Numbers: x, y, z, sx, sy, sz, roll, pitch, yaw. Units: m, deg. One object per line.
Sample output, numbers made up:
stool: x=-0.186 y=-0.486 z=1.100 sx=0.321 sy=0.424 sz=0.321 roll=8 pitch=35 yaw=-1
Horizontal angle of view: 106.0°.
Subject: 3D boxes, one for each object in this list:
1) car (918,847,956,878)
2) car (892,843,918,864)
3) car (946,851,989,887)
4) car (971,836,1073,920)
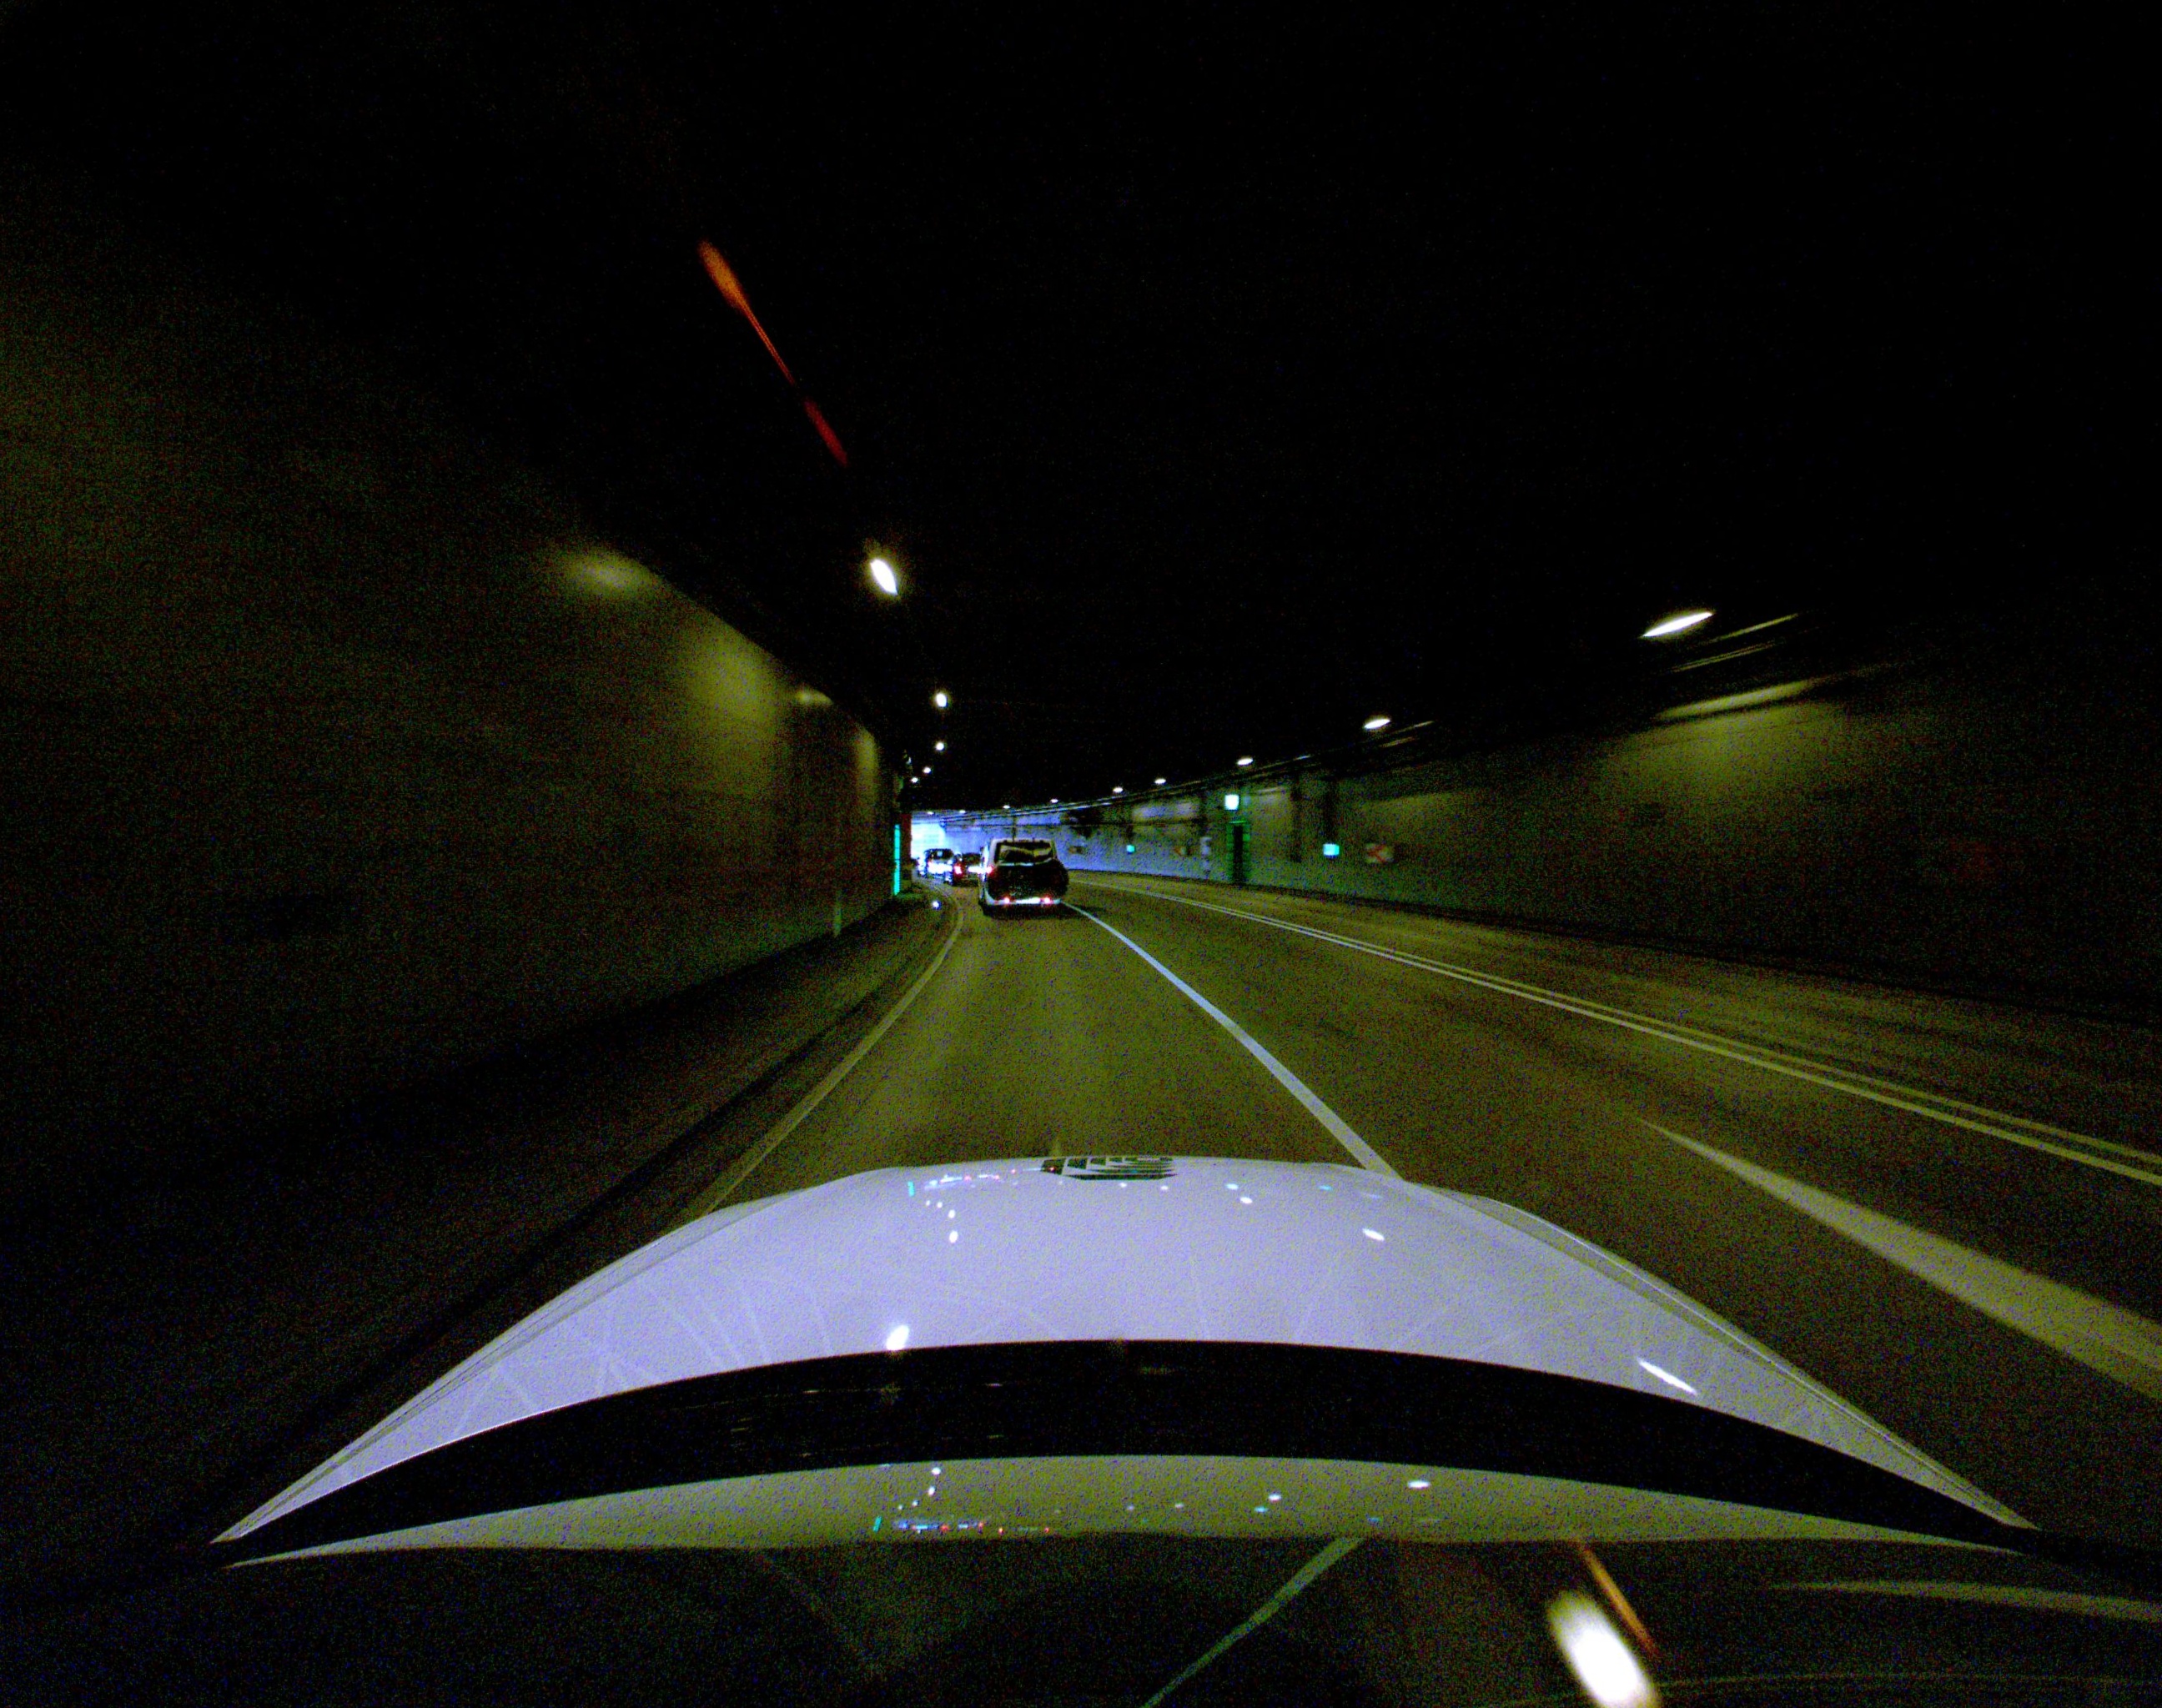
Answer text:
car: x=-7.853 y=0.452 z=44.170 sx=1.607 sy=1.594 sz=3.335 roll=1 pitch=-1 yaw=-18
car: x=-14.037 y=0.010 z=64.890 sx=1.608 sy=1.630 sz=3.334 roll=0 pitch=-1 yaw=-19
car: x=-4.908 y=0.607 z=34.890 sx=1.603 sy=1.395 sz=3.265 roll=1 pitch=0 yaw=-11
car: x=-1.649 y=0.494 z=20.767 sx=1.994 sy=1.847 sz=5.281 roll=-1 pitch=1 yaw=-11
